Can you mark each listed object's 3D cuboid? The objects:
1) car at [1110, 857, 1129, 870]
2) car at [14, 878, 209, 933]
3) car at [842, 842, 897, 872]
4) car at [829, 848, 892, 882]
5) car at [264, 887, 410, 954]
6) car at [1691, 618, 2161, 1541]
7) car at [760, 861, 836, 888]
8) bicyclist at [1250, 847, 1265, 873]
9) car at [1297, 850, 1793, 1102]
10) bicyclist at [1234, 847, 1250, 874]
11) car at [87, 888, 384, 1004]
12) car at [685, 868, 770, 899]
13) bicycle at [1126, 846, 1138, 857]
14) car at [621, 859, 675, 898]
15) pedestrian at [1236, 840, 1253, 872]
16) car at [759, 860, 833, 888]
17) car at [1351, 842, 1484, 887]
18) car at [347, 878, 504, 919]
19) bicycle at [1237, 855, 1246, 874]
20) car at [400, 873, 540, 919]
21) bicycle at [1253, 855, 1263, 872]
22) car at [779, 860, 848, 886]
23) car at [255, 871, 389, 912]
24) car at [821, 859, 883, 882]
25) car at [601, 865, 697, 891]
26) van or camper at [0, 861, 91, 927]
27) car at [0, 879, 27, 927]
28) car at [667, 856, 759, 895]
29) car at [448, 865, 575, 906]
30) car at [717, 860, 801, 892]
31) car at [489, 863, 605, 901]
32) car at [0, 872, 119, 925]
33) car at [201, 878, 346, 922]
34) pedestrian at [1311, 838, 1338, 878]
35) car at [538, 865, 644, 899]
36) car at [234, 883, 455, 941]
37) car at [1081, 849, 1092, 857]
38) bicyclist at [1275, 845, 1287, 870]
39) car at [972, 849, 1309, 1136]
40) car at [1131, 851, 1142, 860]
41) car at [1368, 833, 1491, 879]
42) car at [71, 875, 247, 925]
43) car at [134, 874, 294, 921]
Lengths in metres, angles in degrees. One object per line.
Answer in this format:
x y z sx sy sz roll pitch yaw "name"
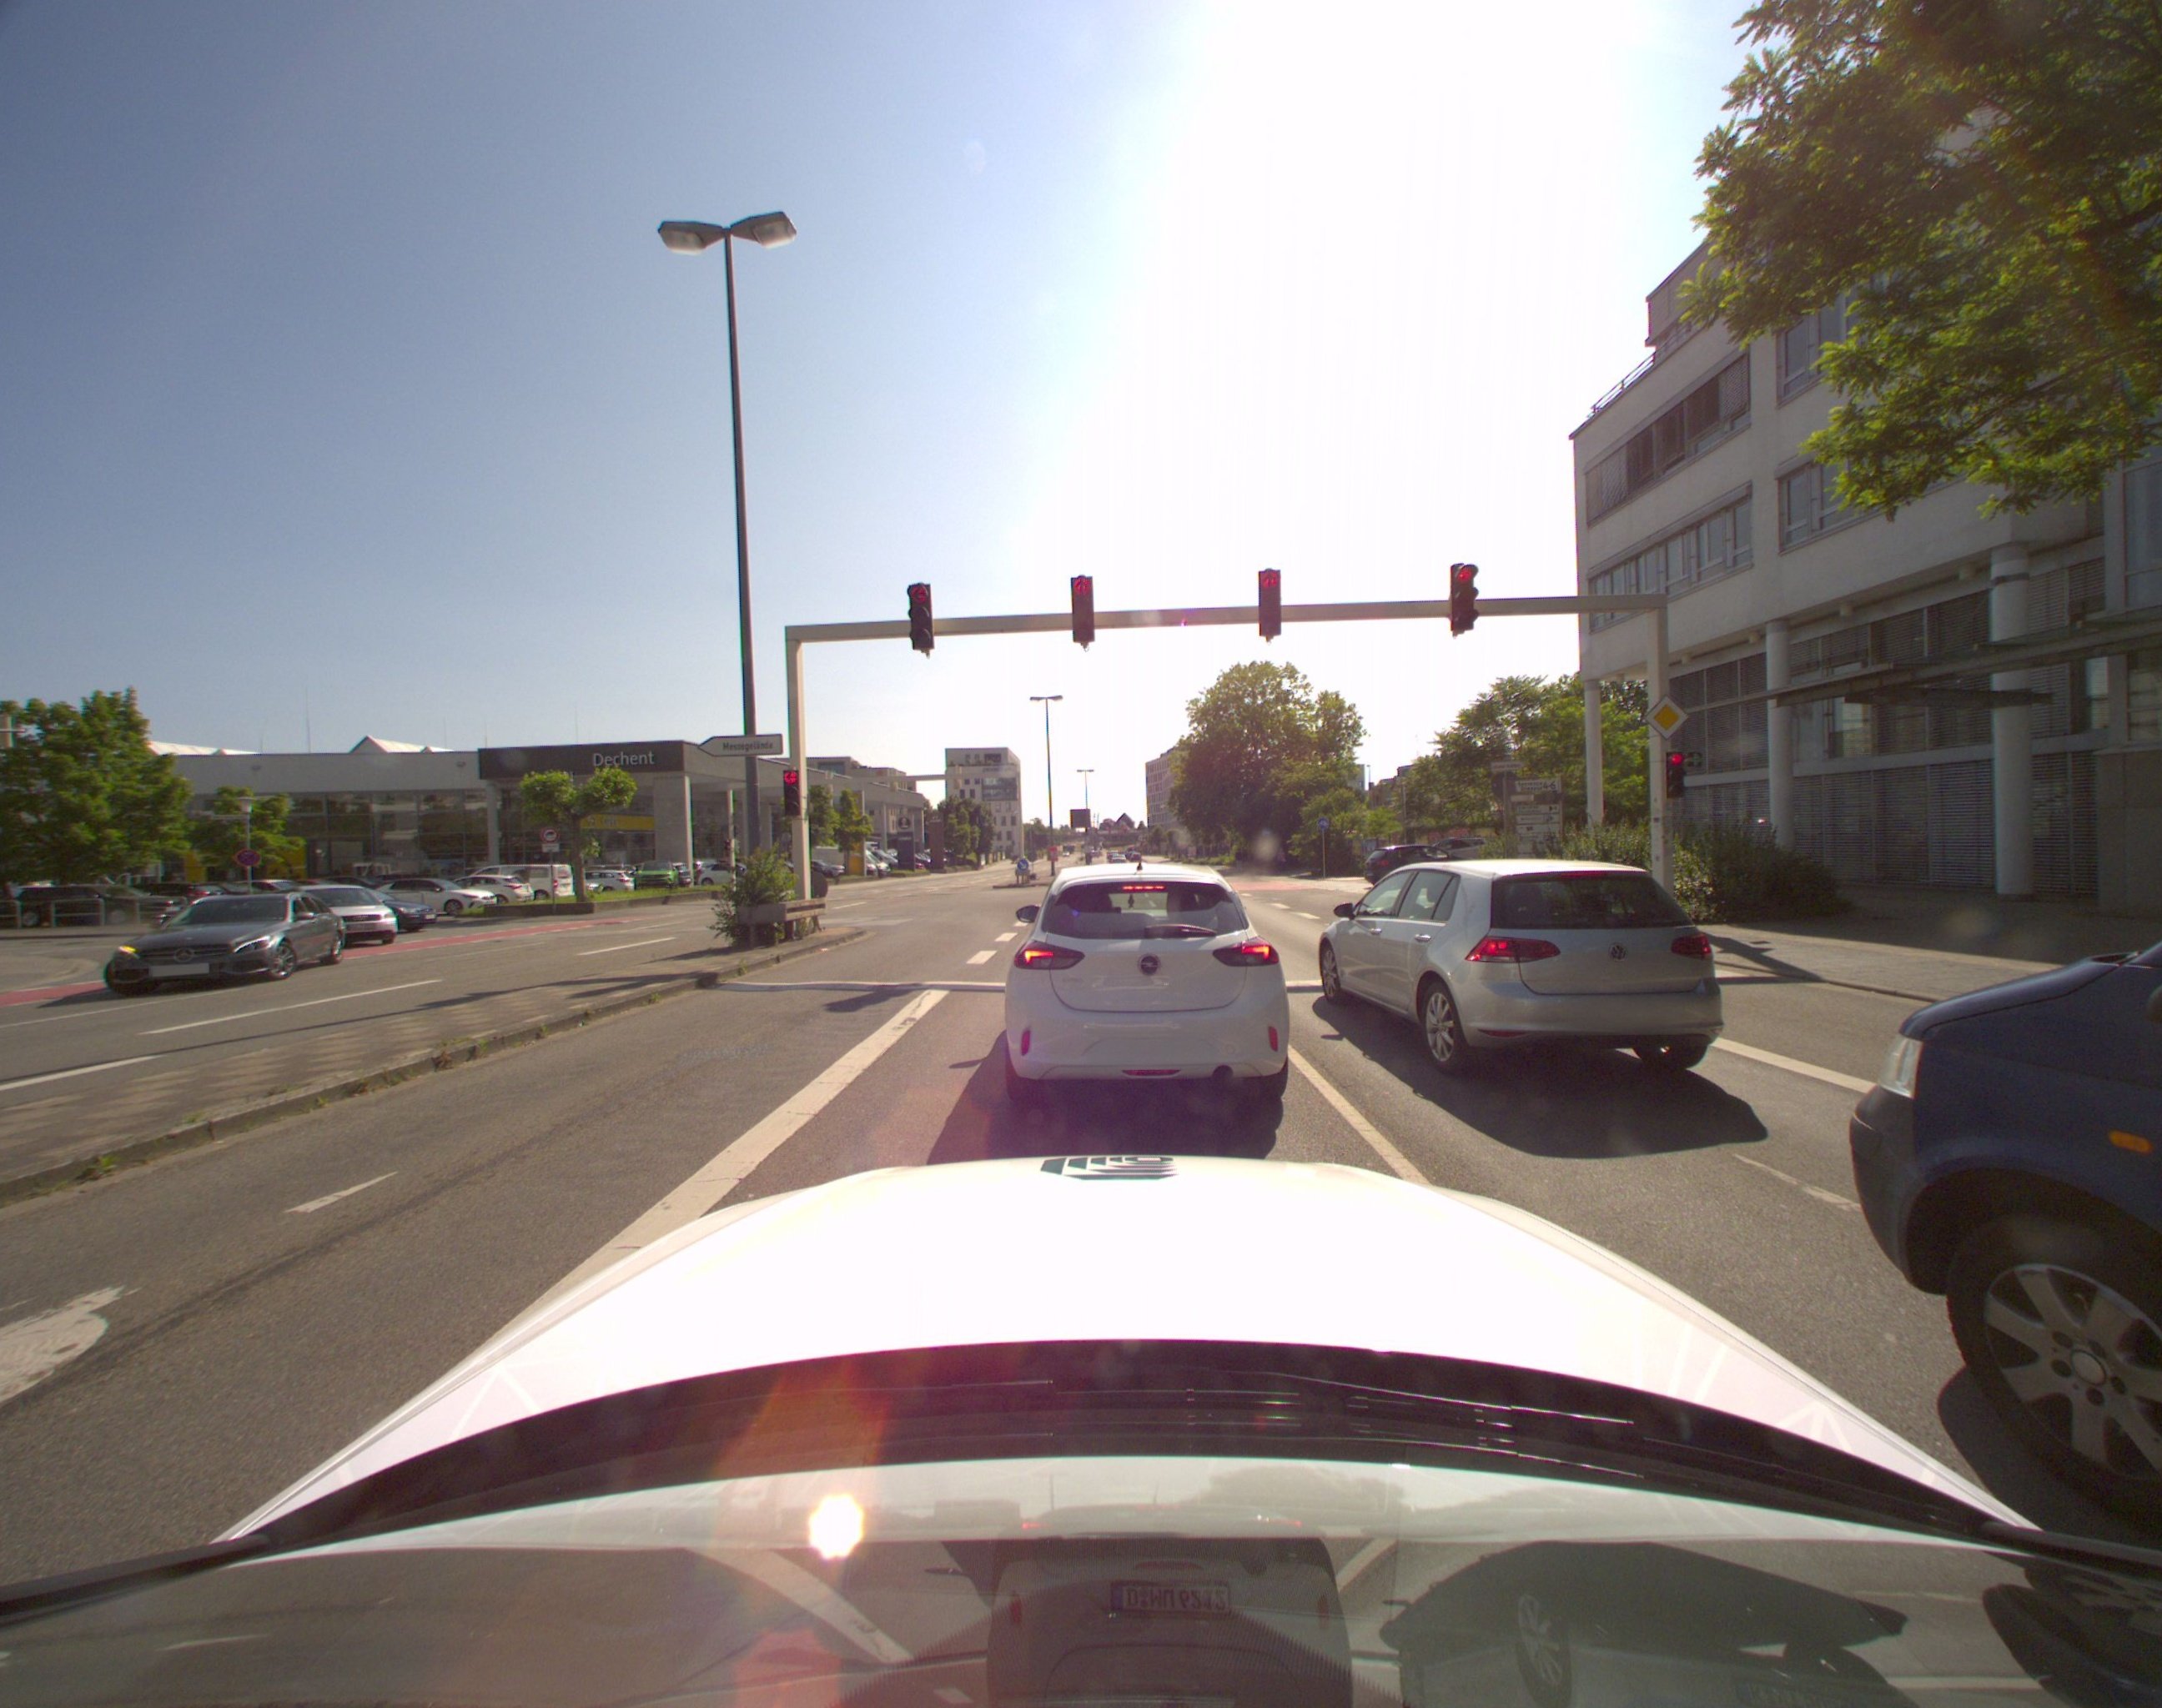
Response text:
4.174 1.000 87.772 1.984 1.331 4.005 0 -1 5 "car"
-34.955 1.810 29.480 4.348 1.696 1.997 -2 0 -4 "car"
-19.098 0.269 73.678 4.334 2.601 2.004 -2 0 6 "car"
-18.472 0.937 68.343 4.469 2.684 2.134 -2 0 10 "car"
-18.656 1.606 20.385 3.865 1.438 1.789 -2 0 33 "car"
3.223 0.444 0.561 1.986 1.948 4.892 -2 -1 2 "car"
-18.983 1.352 54.698 4.343 1.696 1.999 -2 0 -1 "car"
11.584 0.373 53.417 0.687 1.643 0.775 -2 0 -7 "bicyclist"
3.301 0.741 6.845 1.802 1.429 3.998 -2 -1 -1 "car"
10.803 0.433 54.653 0.876 1.772 0.864 -2 0 1 "bicyclist"
-14.454 1.438 14.355 1.964 1.427 4.550 -2 1 -23 "car"
-20.296 1.659 46.891 3.981 1.599 1.996 -2 0 -6 "car"
9.673 -0.486 155.242 1.986 2.157 4.001 -2 0 1 "bicycle"
-21.253 1.217 39.947 1.915 1.733 3.258 -2 -1 -35 "car"
11.688 0.155 58.237 1.023 2.238 1.039 -2 0 1 "pedestrian"
-19.886 1.376 56.953 4.344 1.696 1.999 -2 0 -1 "car"
12.185 0.363 29.642 3.982 1.442 1.996 -2 0 -6 "car"
-25.537 1.714 31.850 4.348 1.300 1.997 -2 0 -4 "car"
10.773 0.695 54.661 0.371 1.216 1.154 0 0 2 "bicycle"
-26.197 1.775 35.051 4.348 1.696 1.997 -2 0 -4 "car"
11.600 0.615 53.365 0.372 1.147 1.034 0 -1 0 "bicycle"
-19.718 1.364 60.146 4.344 1.696 1.999 -2 0 -1 "car"
-36.619 1.777 39.404 4.352 1.696 1.995 -2 0 -7 "car"
-18.506 1.336 65.892 4.332 1.696 2.005 -2 0 8 "car"
-24.704 1.373 46.669 4.352 1.268 1.995 -3 -2 -7 "car"
-41.947 1.573 31.330 4.711 2.400 1.995 -2 0 -8 "van or camper"
-40.602 1.810 28.321 4.371 1.696 1.987 -2 0 -20 "car"
-19.259 1.092 42.768 3.859 1.837 1.999 -2 0 -1 "car"
-26.576 1.442 38.153 4.353 1.696 1.995 -2 0 -7 "car"
-19.604 1.338 49.691 4.284 1.765 1.999 -2 0 -1 "car"
-26.625 1.380 40.770 4.353 1.696 1.995 -2 0 -7 "car"
-43.163 1.822 33.688 3.984 2.013 1.995 -2 0 -8 "car"
-36.595 2.059 37.008 4.348 1.696 1.997 -2 0 -4 "car"
12.428 0.201 41.588 1.023 2.013 1.039 -2 0 1 "pedestrian"
-26.158 1.495 43.575 4.352 1.591 1.996 -2 0 -7 "car"
-21.554 1.647 24.059 4.363 1.447 1.990 -1 0 -15 "car"
1.009 -0.169 141.854 1.799 1.386 4.001 0 -1 2 "car"
13.193 0.222 53.755 0.650 1.637 0.660 0 -1 1 "bicyclist"
0.379 0.749 6.401 1.773 1.494 4.001 -2 0 2 "car"
9.174 0.276 134.934 1.799 1.386 4.001 0 -1 2 "car"
14.593 0.082 34.387 4.389 1.551 2.007 -4 -1 12 "car"
-36.091 1.764 31.993 4.348 1.696 1.997 -2 0 -4 "car"
-36.455 1.809 34.343 4.348 1.696 1.997 -2 0 -4 "car"
